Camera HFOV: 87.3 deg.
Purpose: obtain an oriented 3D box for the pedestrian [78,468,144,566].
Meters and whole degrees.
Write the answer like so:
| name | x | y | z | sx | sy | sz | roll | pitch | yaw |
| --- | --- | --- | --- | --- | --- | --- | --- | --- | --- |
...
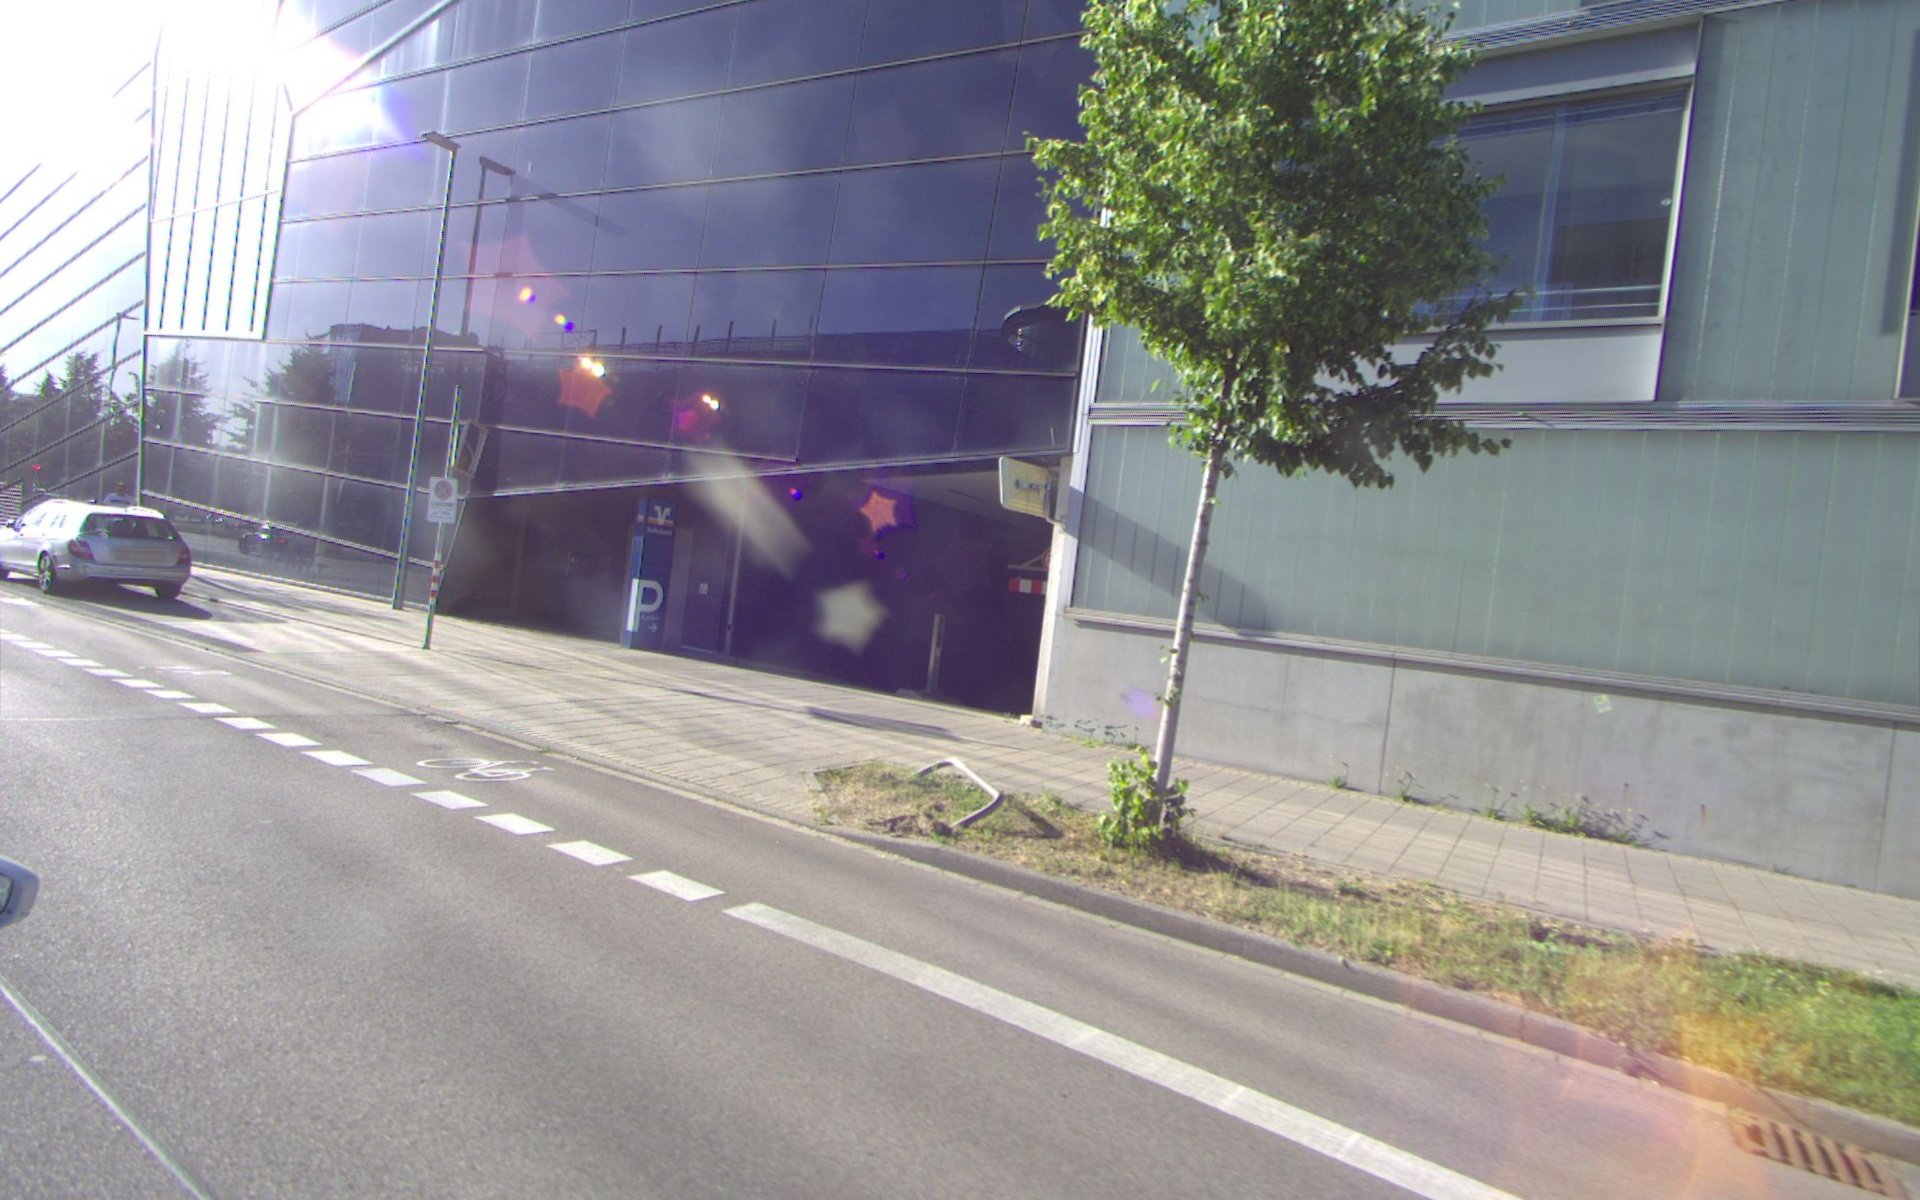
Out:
| name | x | y | z | sx | sy | sz | roll | pitch | yaw |
| --- | --- | --- | --- | --- | --- | --- | --- | --- | --- |
| pedestrian | -18.921 | -1.837 | 22.417 | 0.678 | 2.039 | 0.836 | 7 | 2 | 33 |

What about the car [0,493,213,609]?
| name | x | y | z | sx | sy | sz | roll | pitch | yaw |
| --- | --- | --- | --- | --- | --- | --- | --- | --- | --- |
| car | -15.007 | -0.898 | 17.254 | 4.773 | 1.500 | 1.854 | 7 | 2 | 32 |
